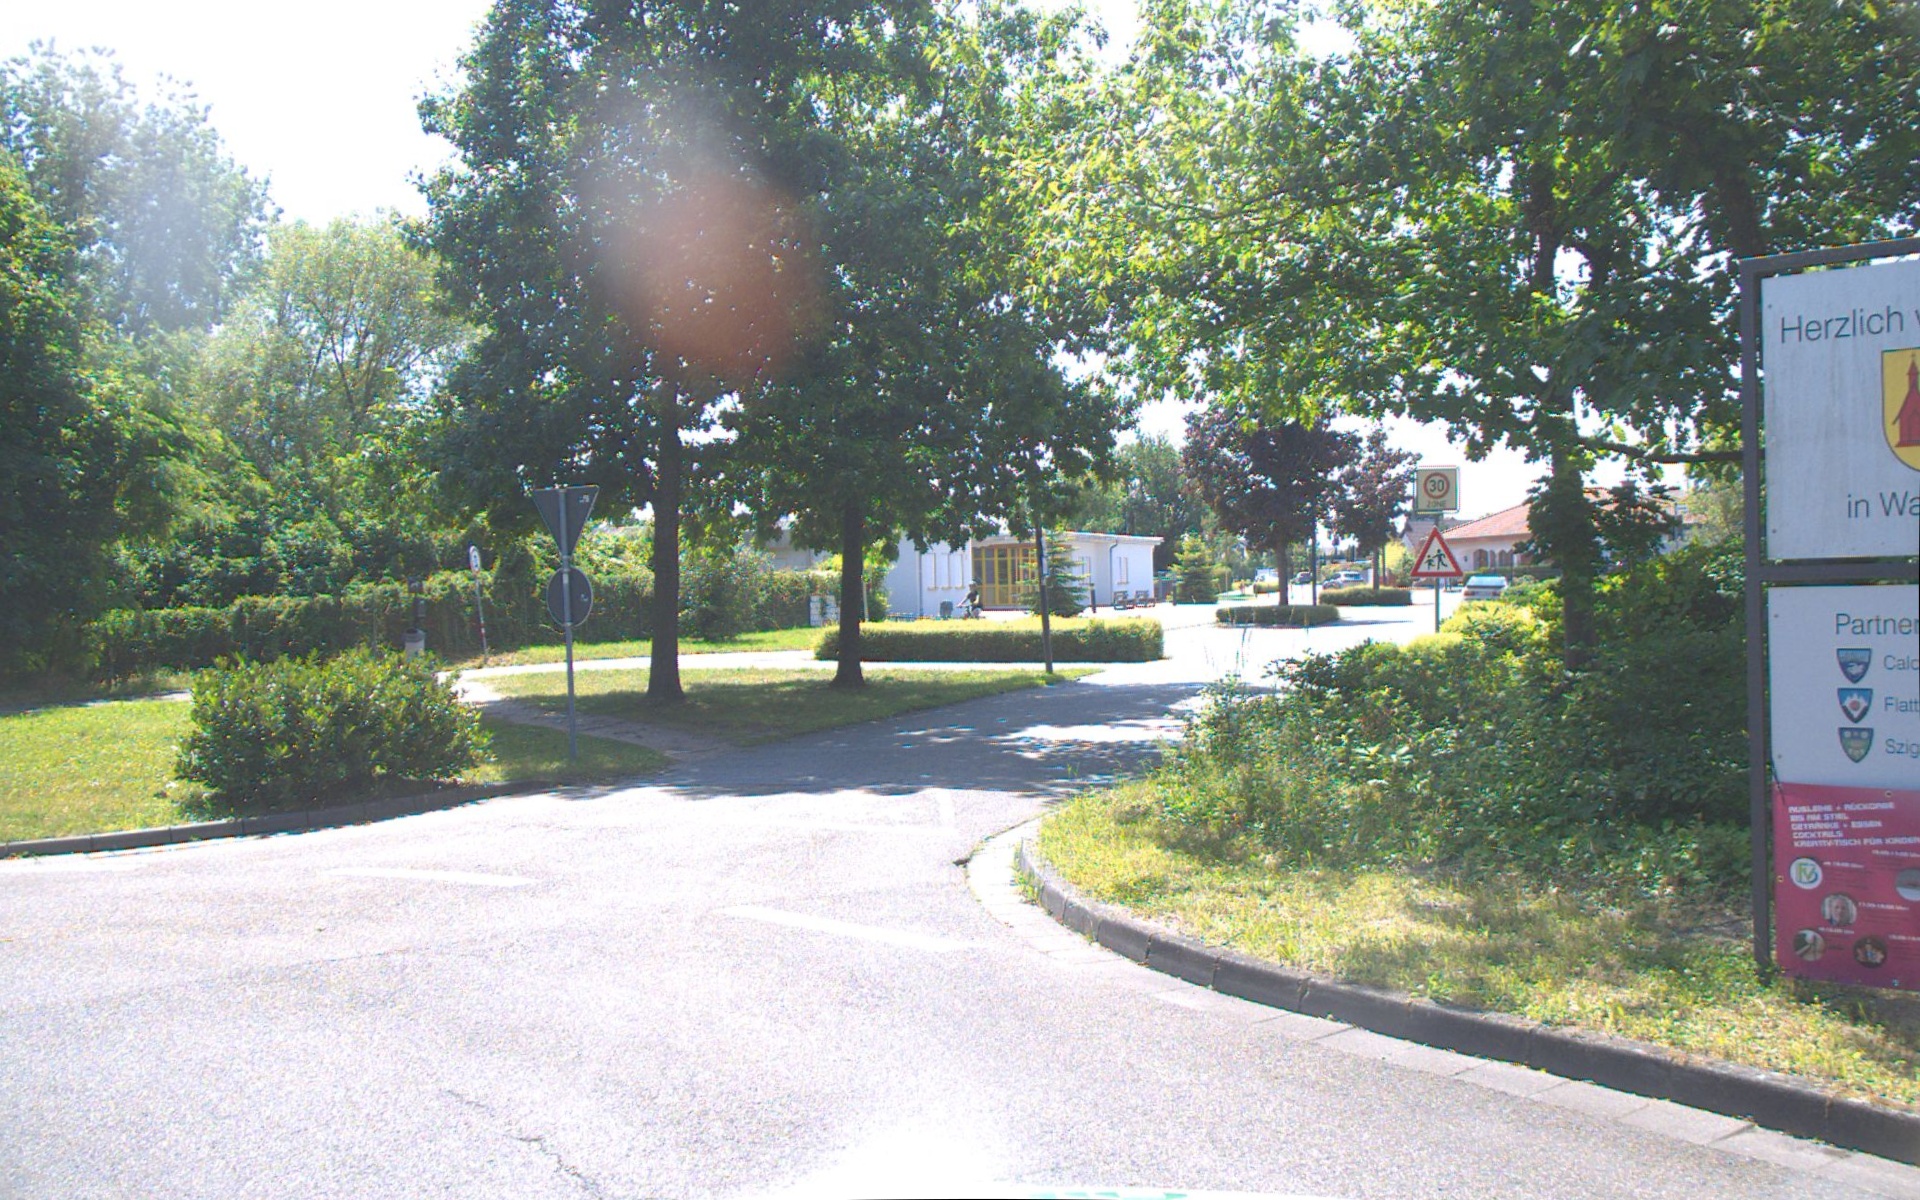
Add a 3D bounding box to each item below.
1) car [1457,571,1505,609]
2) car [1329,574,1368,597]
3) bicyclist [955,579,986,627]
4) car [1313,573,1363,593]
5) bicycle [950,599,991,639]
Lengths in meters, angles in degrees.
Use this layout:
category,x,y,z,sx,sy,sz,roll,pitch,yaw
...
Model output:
category,x,y,z,sx,sy,sz,roll,pitch,yaw
car,19.031,-0.369,60.504,1.580,1.311,3.559,-1,0,17
car,23.104,-0.867,98.568,1.581,1.311,3.558,-1,0,2
bicyclist,0.273,0.075,41.401,0.584,1.185,0.649,-2,0,16
car,24.974,-1.113,109.381,1.956,1.310,3.993,-2,0,-8
bicycle,0.275,0.474,41.364,0.584,0.945,1.621,-2,0,16
